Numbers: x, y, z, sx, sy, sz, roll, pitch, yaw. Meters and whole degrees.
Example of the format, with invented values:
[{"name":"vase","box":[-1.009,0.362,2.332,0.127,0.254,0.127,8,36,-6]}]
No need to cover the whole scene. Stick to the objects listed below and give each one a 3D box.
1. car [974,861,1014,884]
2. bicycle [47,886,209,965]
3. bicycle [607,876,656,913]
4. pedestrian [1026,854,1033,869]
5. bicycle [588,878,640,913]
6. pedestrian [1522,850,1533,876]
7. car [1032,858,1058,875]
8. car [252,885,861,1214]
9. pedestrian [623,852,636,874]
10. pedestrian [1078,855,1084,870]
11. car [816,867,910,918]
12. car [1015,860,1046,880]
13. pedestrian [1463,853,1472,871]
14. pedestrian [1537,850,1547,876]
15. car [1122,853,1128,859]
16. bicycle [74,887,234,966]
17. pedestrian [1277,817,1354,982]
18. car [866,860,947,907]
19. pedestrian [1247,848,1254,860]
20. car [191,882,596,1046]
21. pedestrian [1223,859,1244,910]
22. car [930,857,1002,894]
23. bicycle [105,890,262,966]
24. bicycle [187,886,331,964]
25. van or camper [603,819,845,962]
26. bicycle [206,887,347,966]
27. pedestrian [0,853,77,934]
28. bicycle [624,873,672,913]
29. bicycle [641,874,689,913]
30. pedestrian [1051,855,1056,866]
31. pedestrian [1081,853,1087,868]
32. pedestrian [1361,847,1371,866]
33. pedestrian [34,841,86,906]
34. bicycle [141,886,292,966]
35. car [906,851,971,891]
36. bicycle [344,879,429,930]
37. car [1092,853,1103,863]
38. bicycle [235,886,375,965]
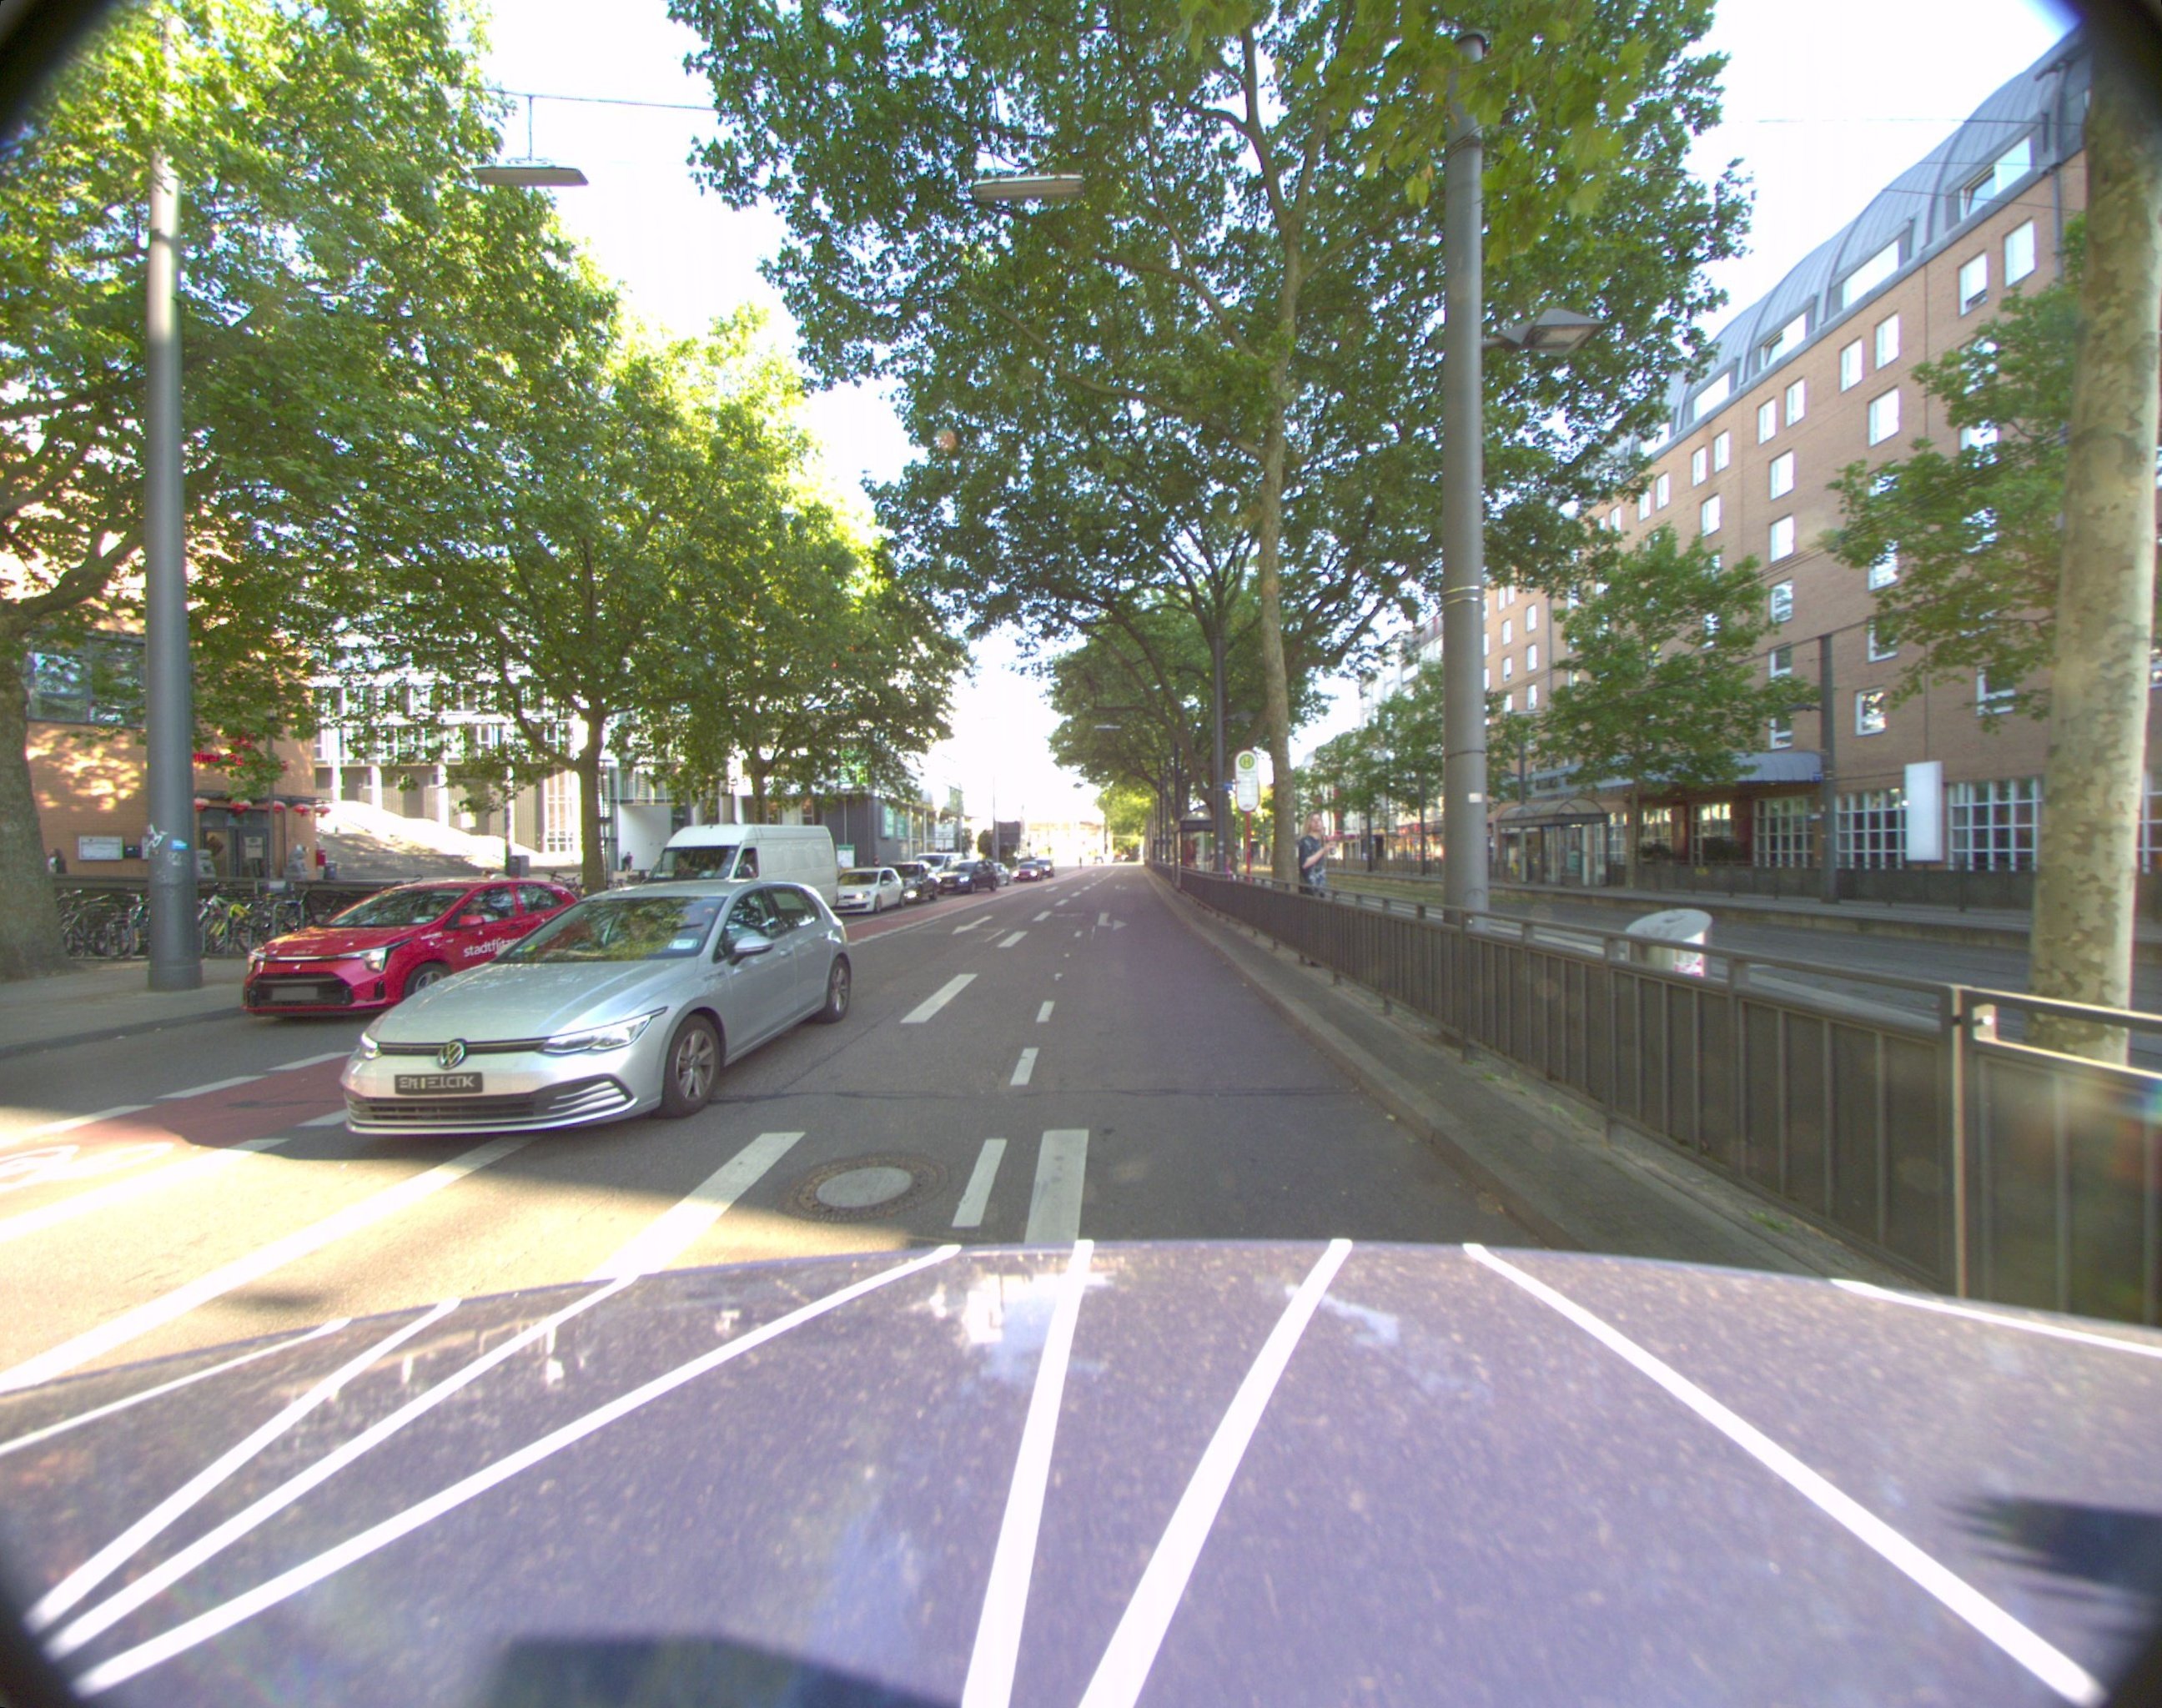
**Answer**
[{"name":"car","box":[-5.488,1.163,48.380,1.801,1.369,4.001,0,0,3]},{"name":"bicycle","box":[-16.388,1.195,13.140,0.435,1.187,1.850,0,0,1]},{"name":"bicycle","box":[-14.659,1.300,24.820,0.522,1.088,1.797,0,0,1]},{"name":"pedestrian","box":[-5.696,0.780,83.995,0.648,1.644,0.643,-1,1,1]},{"name":"bicycle","box":[-15.220,1.341,24.795,0.516,1.027,1.850,0,0,1]},{"name":"pedestrian","box":[26.388,0.539,44.901,0.438,1.497,0.659,0,1,23]},{"name":"car","box":[-3.097,1.045,65.753,1.801,1.438,4.001,0,0,3]},{"name":"car","box":[-3.226,1.076,5.824,1.733,1.432,4.000,-2,0,2]},{"name":"pedestrian","box":[-31.432,0.610,52.914,0.719,1.549,0.639,-1,1,-35]},{"name":"pedestrian","box":[0.012,1.120,101.623,0.773,2.002,0.830,-2,1,1]},{"name":"car","box":[-7.014,1.193,24.875,1.682,1.420,4.001,-1,0,3]},{"name":"car","box":[-3.744,1.158,56.729,1.801,1.369,4.001,0,0,3]},{"name":"pedestrian","box":[31.175,0.660,61.291,0.519,1.427,0.516,0,1,4]},{"name":"pedestrian","box":[27.118,0.533,44.685,0.438,1.511,0.659,0,1,23]},{"name":"car","box":[13.956,0.682,240.783,1.998,2.002,4.001,-1,0,4]},{"name":"bicycle","box":[-15.925,1.200,13.137,0.458,1.187,1.850,0,0,1]},{"name":"pedestrian","box":[2.775,0.509,9.009,0.607,1.873,0.622,-2,3,-19]},{"name":"car","box":[-6.716,1.082,29.672,1.818,1.610,4.229,-1,0,5]},{"name":"pedestrian","box":[27.631,0.002,123.829,1.015,2.002,1.047,0,1,3]},{"name":"car","box":[-7.963,1.157,9.341,1.606,1.449,3.651,-1,0,0]},{"name":"pedestrian","box":[3.932,0.776,19.623,0.500,1.308,0.419,0,1,9]},{"name":"car","box":[-5.524,1.012,37.127,1.964,1.610,4.335,-1,0,14]},{"name":"bicycle","box":[-15.426,1.233,13.135,0.485,1.118,1.850,0,0,1]},{"name":"bicycle","box":[-14.327,1.197,13.326,0.484,1.187,1.850,0,0,1]},{"name":"van or camper","box":[-7.516,0.658,17.103,1.998,2.563,6.575,-2,0,3]},{"name":"bicycle","box":[-13.822,1.202,13.135,0.448,1.187,1.850,0,0,1]},{"name":"pedestrian","box":[-23.470,0.861,17.110,0.601,1.773,0.889,0,1,23]},{"name":"bicycle","box":[-14.115,1.243,24.821,0.495,1.187,1.850,0,0,1]},{"name":"bicycle","box":[-13.572,1.265,24.842,0.522,1.187,1.850,0,0,1]},{"name":"pedestrian","box":[-3.874,0.938,107.807,0.611,1.644,0.583,-1,1,1]},{"name":"pedestrian","box":[0.395,0.840,100.137,0.773,2.002,0.830,-2,1,1]},{"name":"pedestrian","box":[31.031,0.285,82.789,0.806,2.002,0.763,-1,1,1]},{"name":"pedestrian","box":[-32.598,0.618,24.268,0.875,2.025,0.586,0,1,6]},{"name":"bicycle","box":[-14.844,1.197,13.126,0.447,1.187,1.850,0,0,1]},{"name":"car","box":[-7.476,0.859,40.493,1.965,1.983,4.960,-1,0,7]},{"name":"bicycle","box":[-17.864,1.283,19.593,0.517,1.187,1.790,0,0,1]},{"name":"car","box":[3.593,0.848,165.332,1.998,2.002,4.001,-1,0,4]},{"name":"bicycle","box":[-13.319,1.191,13.130,0.482,1.187,1.850,0,0,1]}]
